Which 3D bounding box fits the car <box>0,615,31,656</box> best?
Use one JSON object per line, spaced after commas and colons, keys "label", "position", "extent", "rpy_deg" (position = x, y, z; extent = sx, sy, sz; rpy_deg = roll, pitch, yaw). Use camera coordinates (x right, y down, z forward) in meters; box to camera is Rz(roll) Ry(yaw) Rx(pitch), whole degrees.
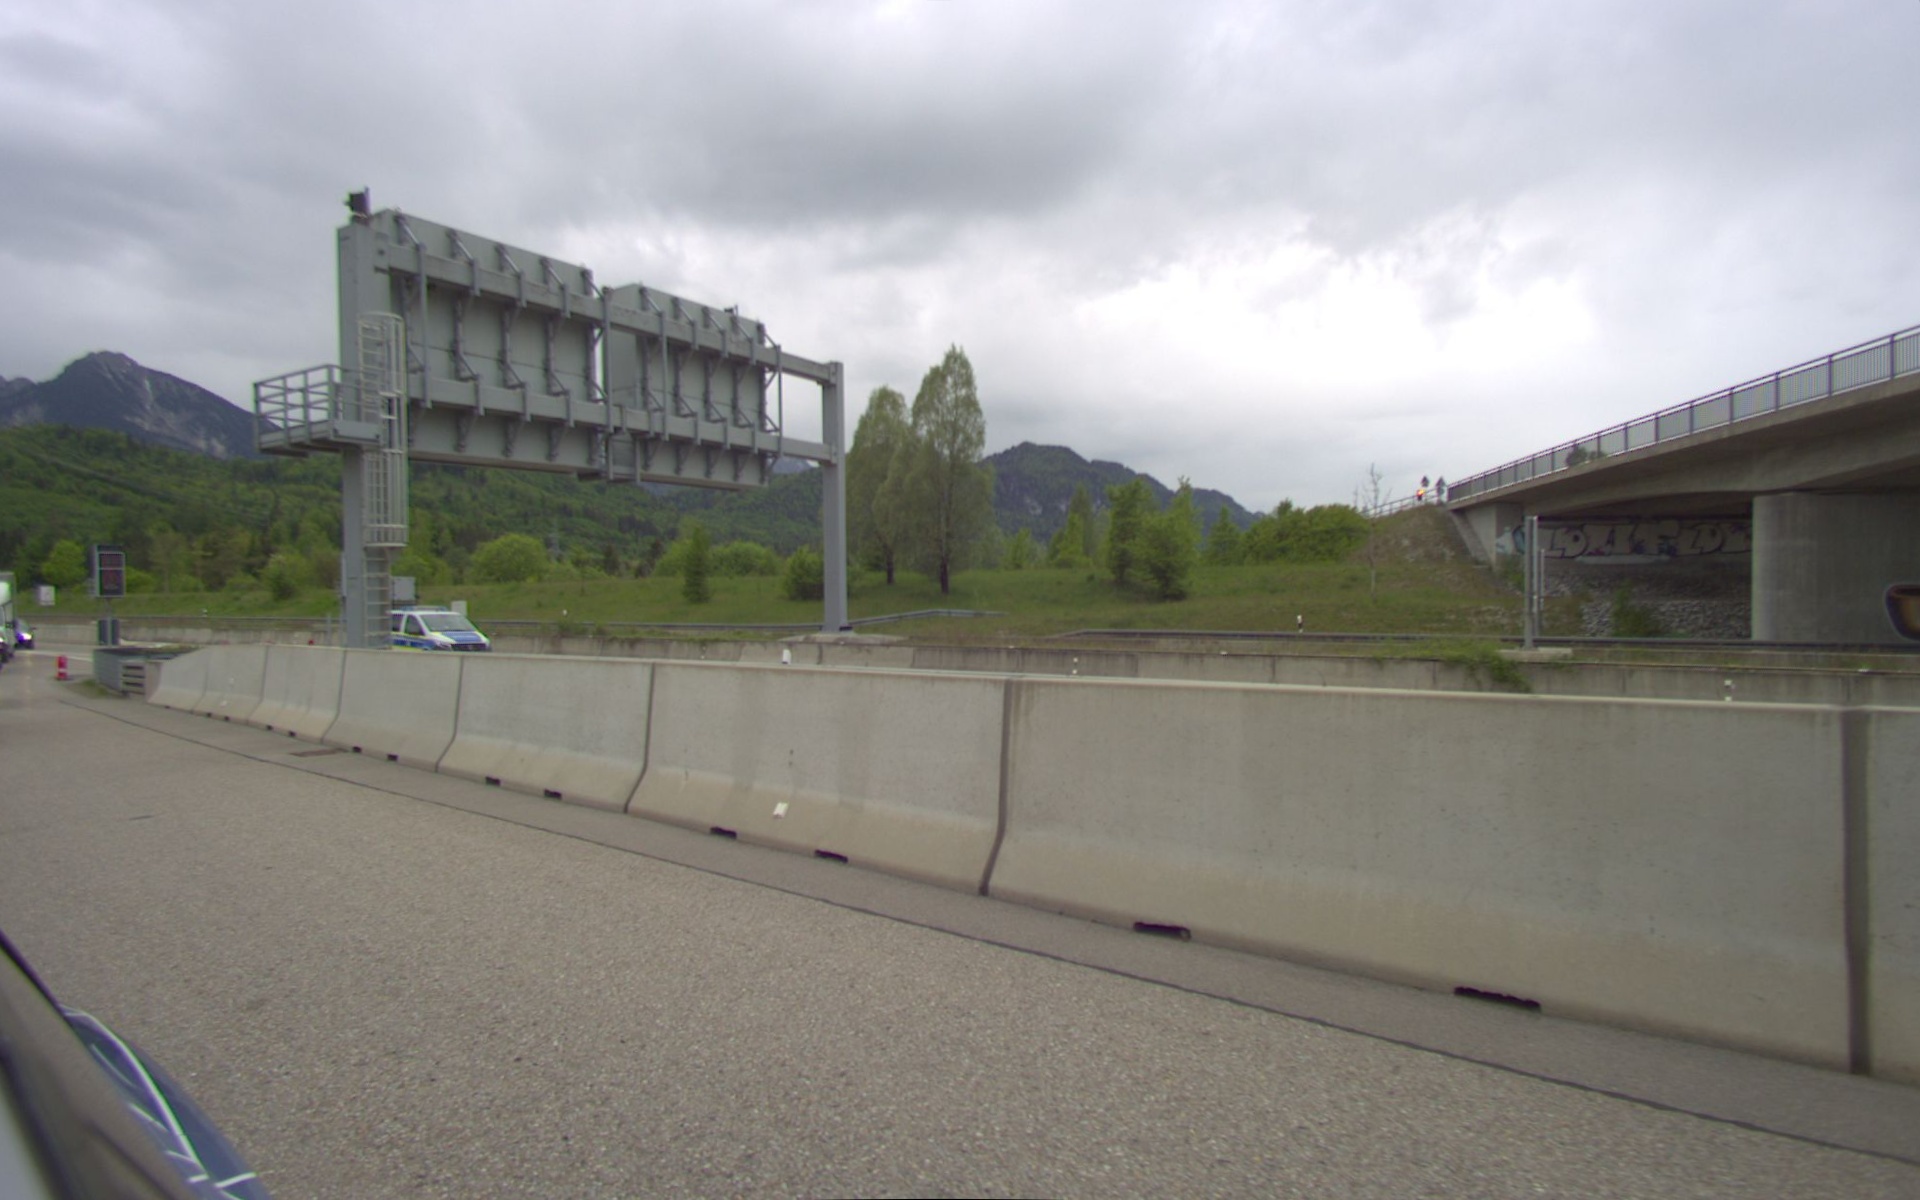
{"label": "car", "position": [-44.810, 1.657, 47.376], "extent": [1.718, 1.778, 4.002], "rpy_deg": [-3, 1, -45]}

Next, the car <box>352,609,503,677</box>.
{"label": "car", "position": [-16.974, 1.309, 32.205], "extent": [5.037, 2.029, 2.081], "rpy_deg": [-1, -1, 33]}

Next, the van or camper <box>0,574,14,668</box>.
{"label": "van or camper", "position": [-37.969, 0.793, 38.713], "extent": [2.545, 3.417, 7.362], "rpy_deg": [1, -2, -43]}
